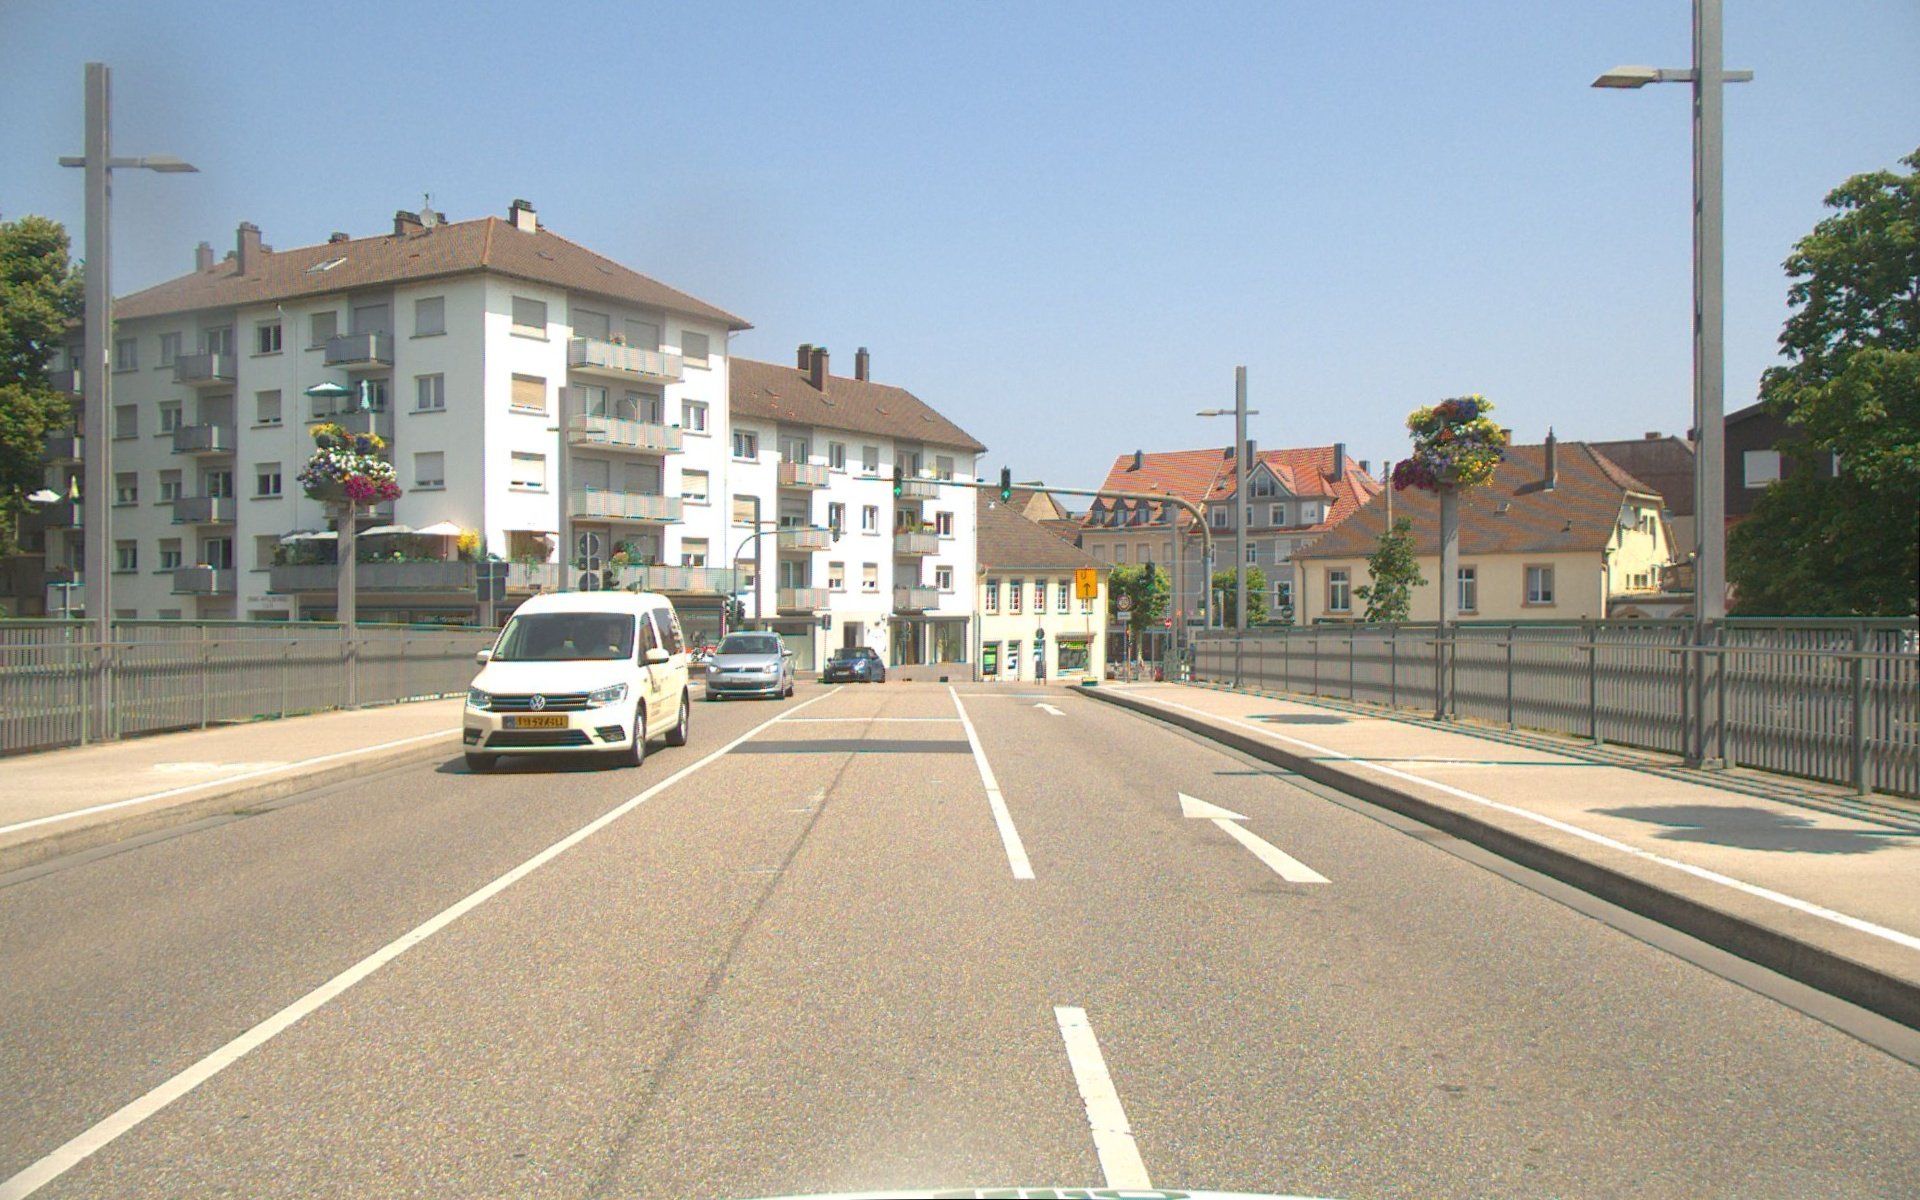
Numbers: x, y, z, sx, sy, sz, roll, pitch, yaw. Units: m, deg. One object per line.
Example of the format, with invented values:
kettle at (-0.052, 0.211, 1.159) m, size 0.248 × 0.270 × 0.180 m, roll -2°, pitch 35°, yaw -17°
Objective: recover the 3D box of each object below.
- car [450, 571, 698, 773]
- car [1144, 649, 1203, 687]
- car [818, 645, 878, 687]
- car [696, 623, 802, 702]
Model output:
car at (-4.075, 0.728, 18.217) m, size 1.723 × 1.890 × 4.644 m, roll -1°, pitch -1°, yaw -2°
car at (10.656, 3.349, 82.295) m, size 1.949 × 1.641 × 4.343 m, roll -1°, pitch 0°, yaw 21°
car at (-4.110, 2.436, 61.278) m, size 1.622 × 1.466 × 3.757 m, roll -1°, pitch -1°, yaw 5°
car at (-4.500, 1.305, 35.763) m, size 1.724 × 1.545 × 4.000 m, roll -1°, pitch 0°, yaw 0°
